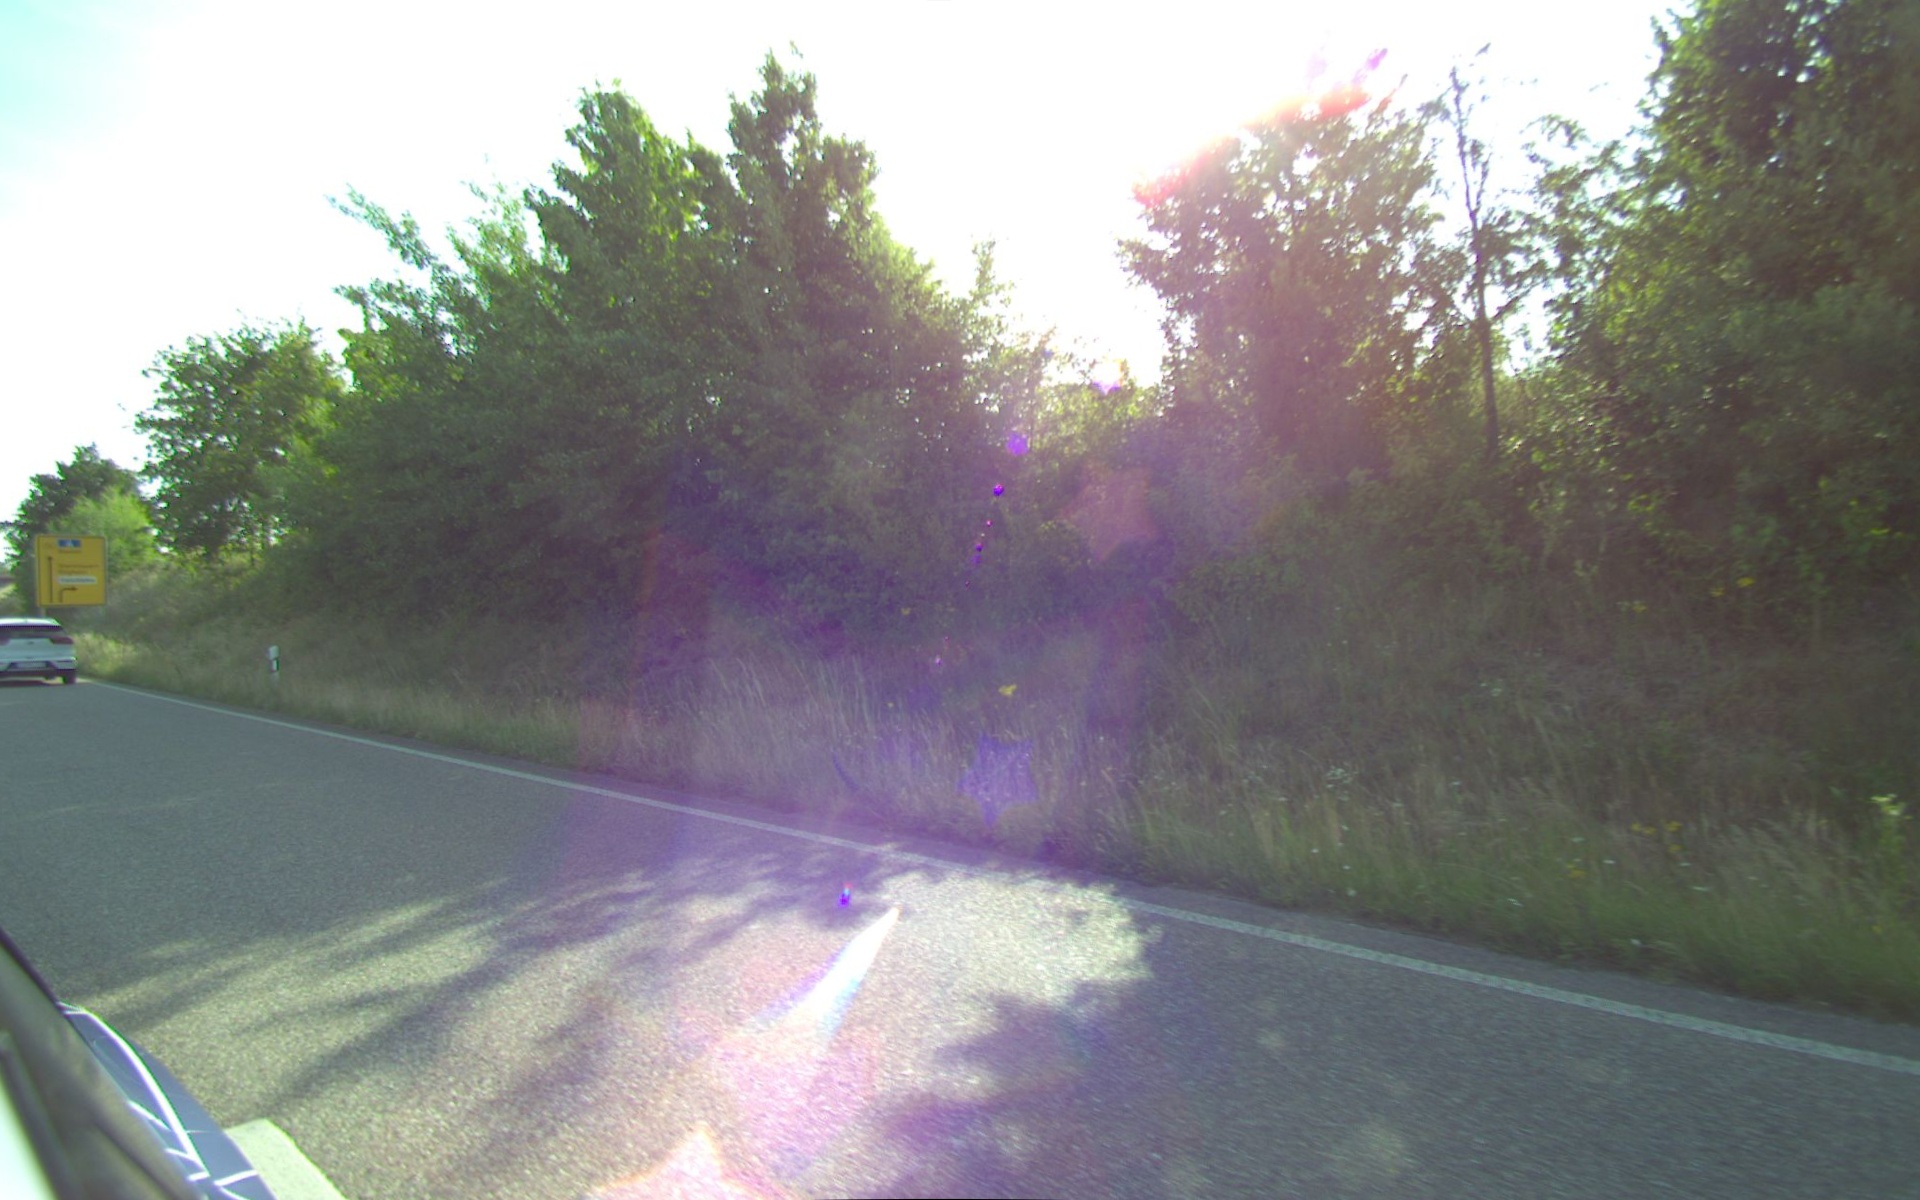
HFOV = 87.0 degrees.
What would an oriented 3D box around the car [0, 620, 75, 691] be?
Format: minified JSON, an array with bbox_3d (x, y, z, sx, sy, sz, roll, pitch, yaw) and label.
[{"bbox_3d":[-22.732,1.283,24.208,4.362,1.576,1.727,-1,-2,40],"label":"car"}]
